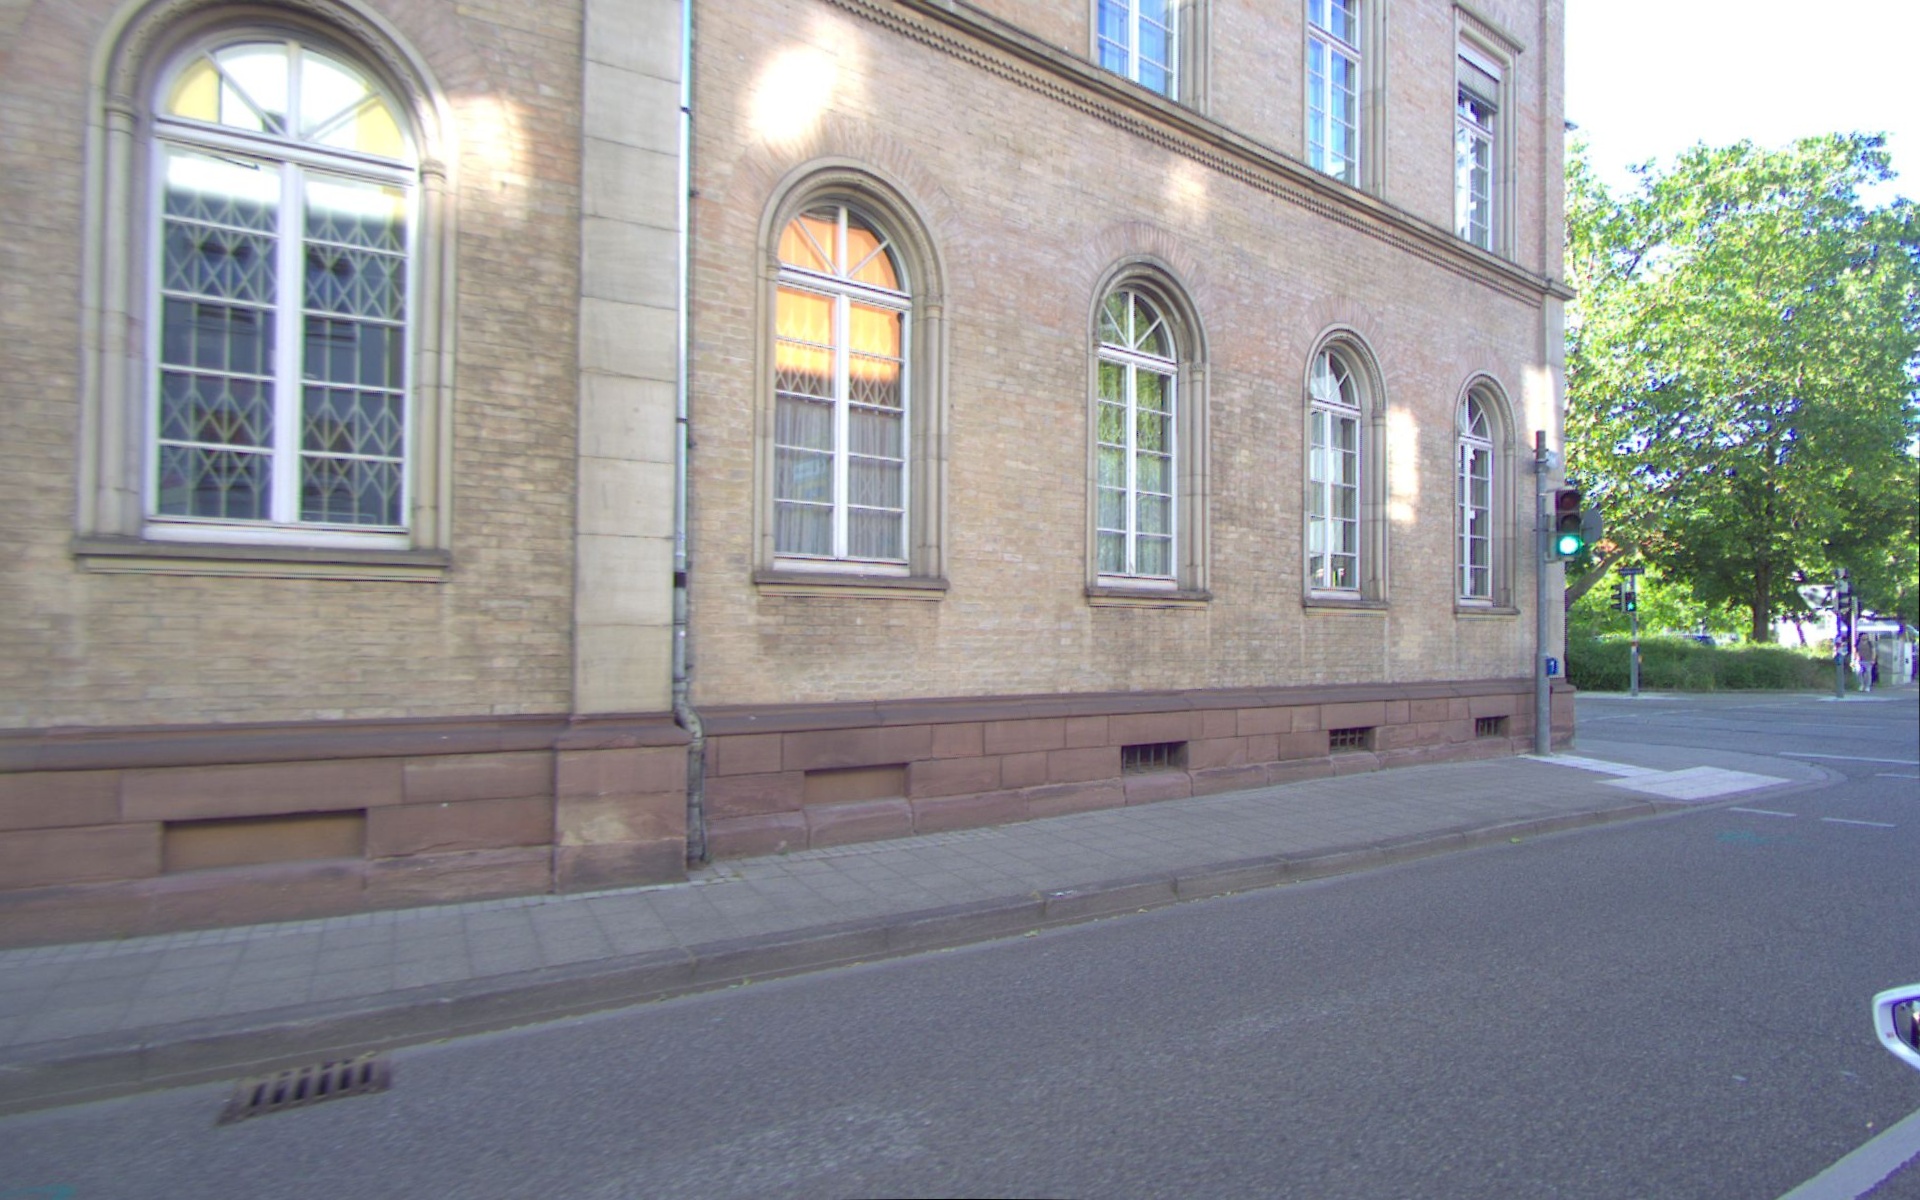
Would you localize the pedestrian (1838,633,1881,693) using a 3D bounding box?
[{"bbox_3d":[26.790,1.876,29.915,0.945,1.745,0.699,2,-3,-33],"label":"pedestrian"}]

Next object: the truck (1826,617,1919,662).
[{"bbox_3d":[52.380,2.194,56.874,2.069,2.431,4.792,1,-1,-38],"label":"truck"}]
